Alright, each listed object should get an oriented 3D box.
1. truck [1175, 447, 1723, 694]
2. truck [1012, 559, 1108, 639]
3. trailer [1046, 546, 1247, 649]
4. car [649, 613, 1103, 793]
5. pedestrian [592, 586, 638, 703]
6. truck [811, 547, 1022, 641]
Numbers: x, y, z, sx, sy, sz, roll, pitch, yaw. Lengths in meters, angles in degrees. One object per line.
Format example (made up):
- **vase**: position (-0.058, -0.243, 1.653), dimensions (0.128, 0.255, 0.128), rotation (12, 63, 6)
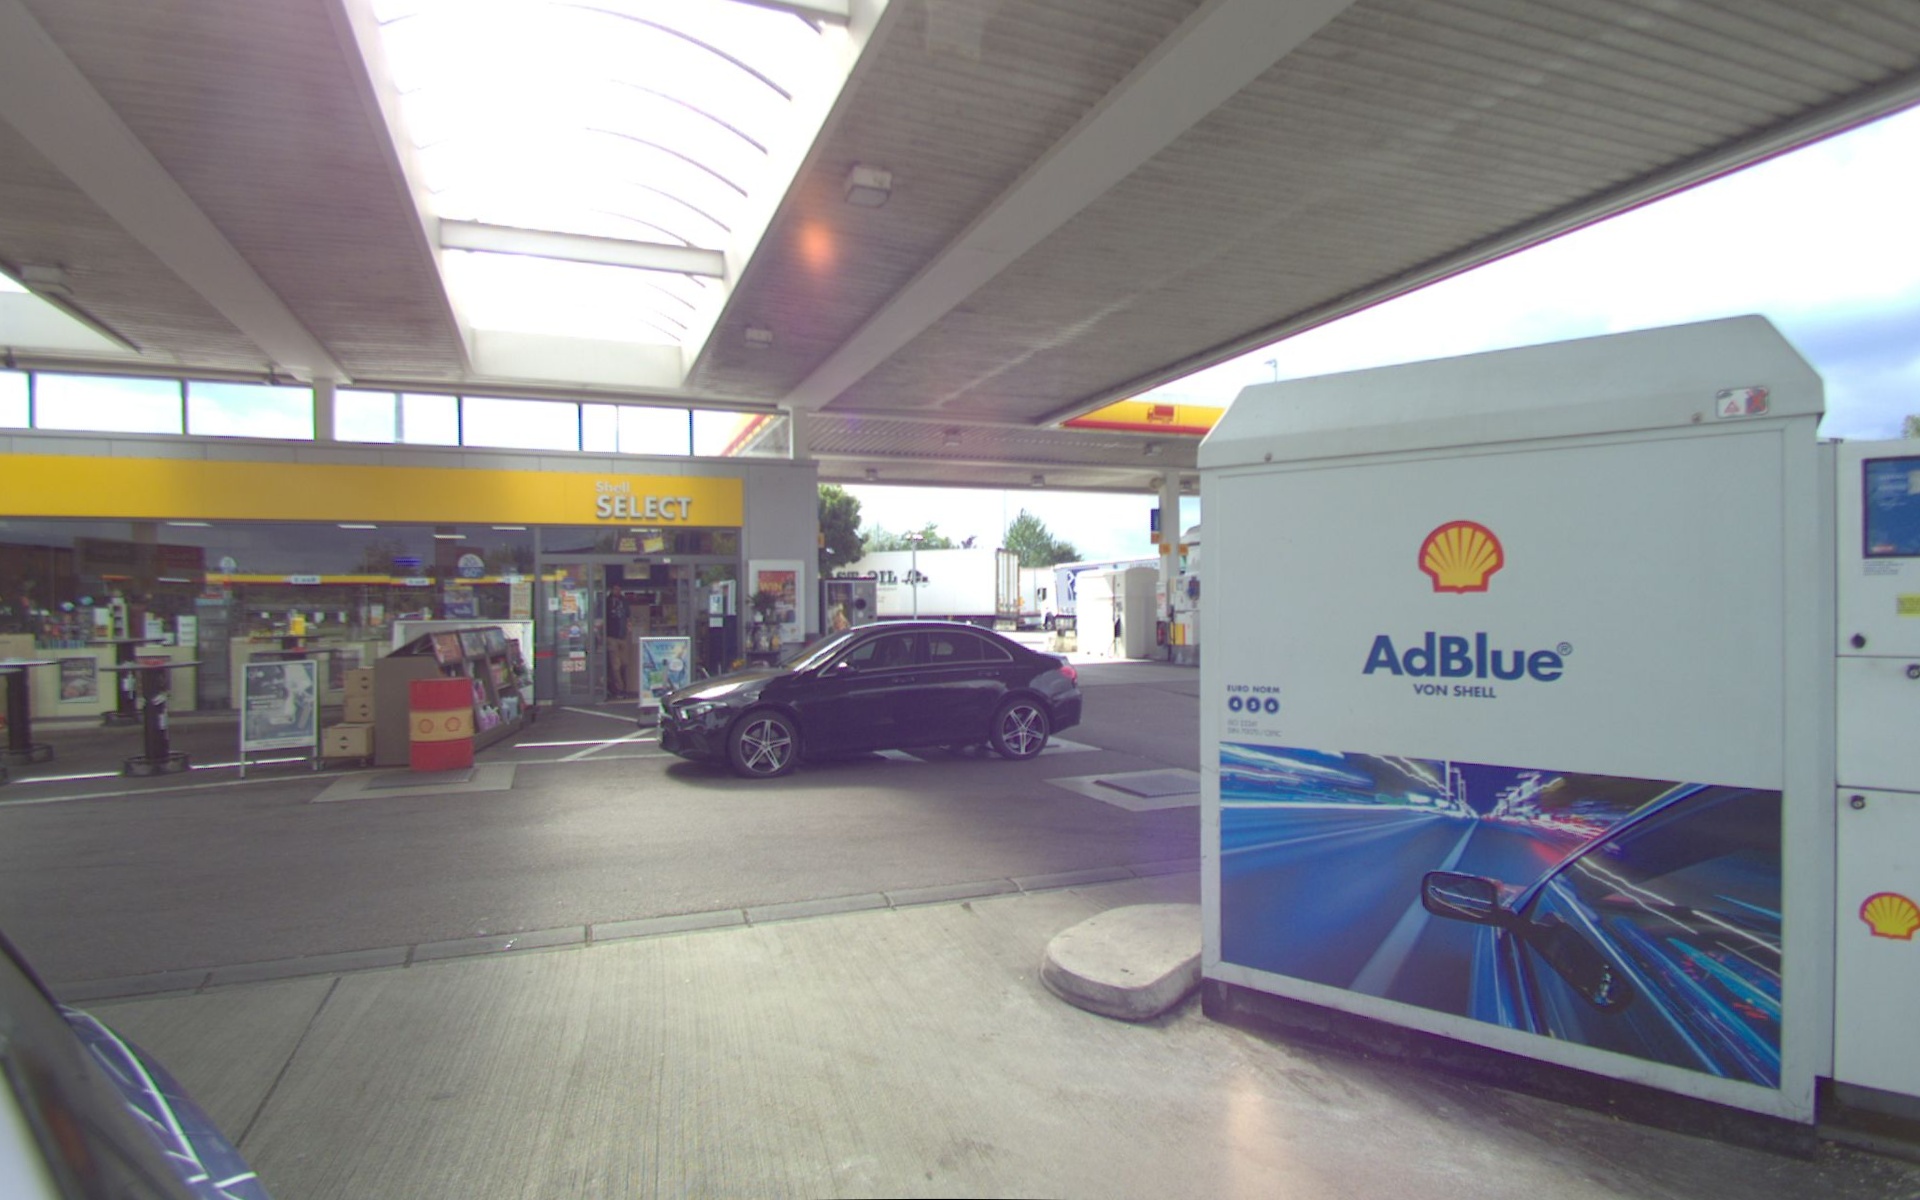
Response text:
- **truck**: position (9.659, -0.473, 23.106), dimensions (2.491, 4.069, 12.947), rotation (-1, 0, -22)
- **truck**: position (5.930, -0.065, 61.225), dimensions (3.333, 4.538, 6.249), rotation (-1, 0, -20)
- **trailer**: position (9.108, -0.114, 52.677), dimensions (3.294, 4.600, 14.397), rotation (-1, 0, -20)
- **car**: position (-0.883, 0.935, 10.612), dimensions (4.394, 1.511, 1.785), rotation (-1, 0, -21)
- **pedestrian**: position (-5.768, 0.724, 16.930), dimensions (0.572, 1.920, 0.510), rotation (-1, 0, -39)
- **truck**: position (-2.100, -0.194, 46.844), dimensions (9.536, 4.036, 2.772), rotation (-1, 0, 25)
